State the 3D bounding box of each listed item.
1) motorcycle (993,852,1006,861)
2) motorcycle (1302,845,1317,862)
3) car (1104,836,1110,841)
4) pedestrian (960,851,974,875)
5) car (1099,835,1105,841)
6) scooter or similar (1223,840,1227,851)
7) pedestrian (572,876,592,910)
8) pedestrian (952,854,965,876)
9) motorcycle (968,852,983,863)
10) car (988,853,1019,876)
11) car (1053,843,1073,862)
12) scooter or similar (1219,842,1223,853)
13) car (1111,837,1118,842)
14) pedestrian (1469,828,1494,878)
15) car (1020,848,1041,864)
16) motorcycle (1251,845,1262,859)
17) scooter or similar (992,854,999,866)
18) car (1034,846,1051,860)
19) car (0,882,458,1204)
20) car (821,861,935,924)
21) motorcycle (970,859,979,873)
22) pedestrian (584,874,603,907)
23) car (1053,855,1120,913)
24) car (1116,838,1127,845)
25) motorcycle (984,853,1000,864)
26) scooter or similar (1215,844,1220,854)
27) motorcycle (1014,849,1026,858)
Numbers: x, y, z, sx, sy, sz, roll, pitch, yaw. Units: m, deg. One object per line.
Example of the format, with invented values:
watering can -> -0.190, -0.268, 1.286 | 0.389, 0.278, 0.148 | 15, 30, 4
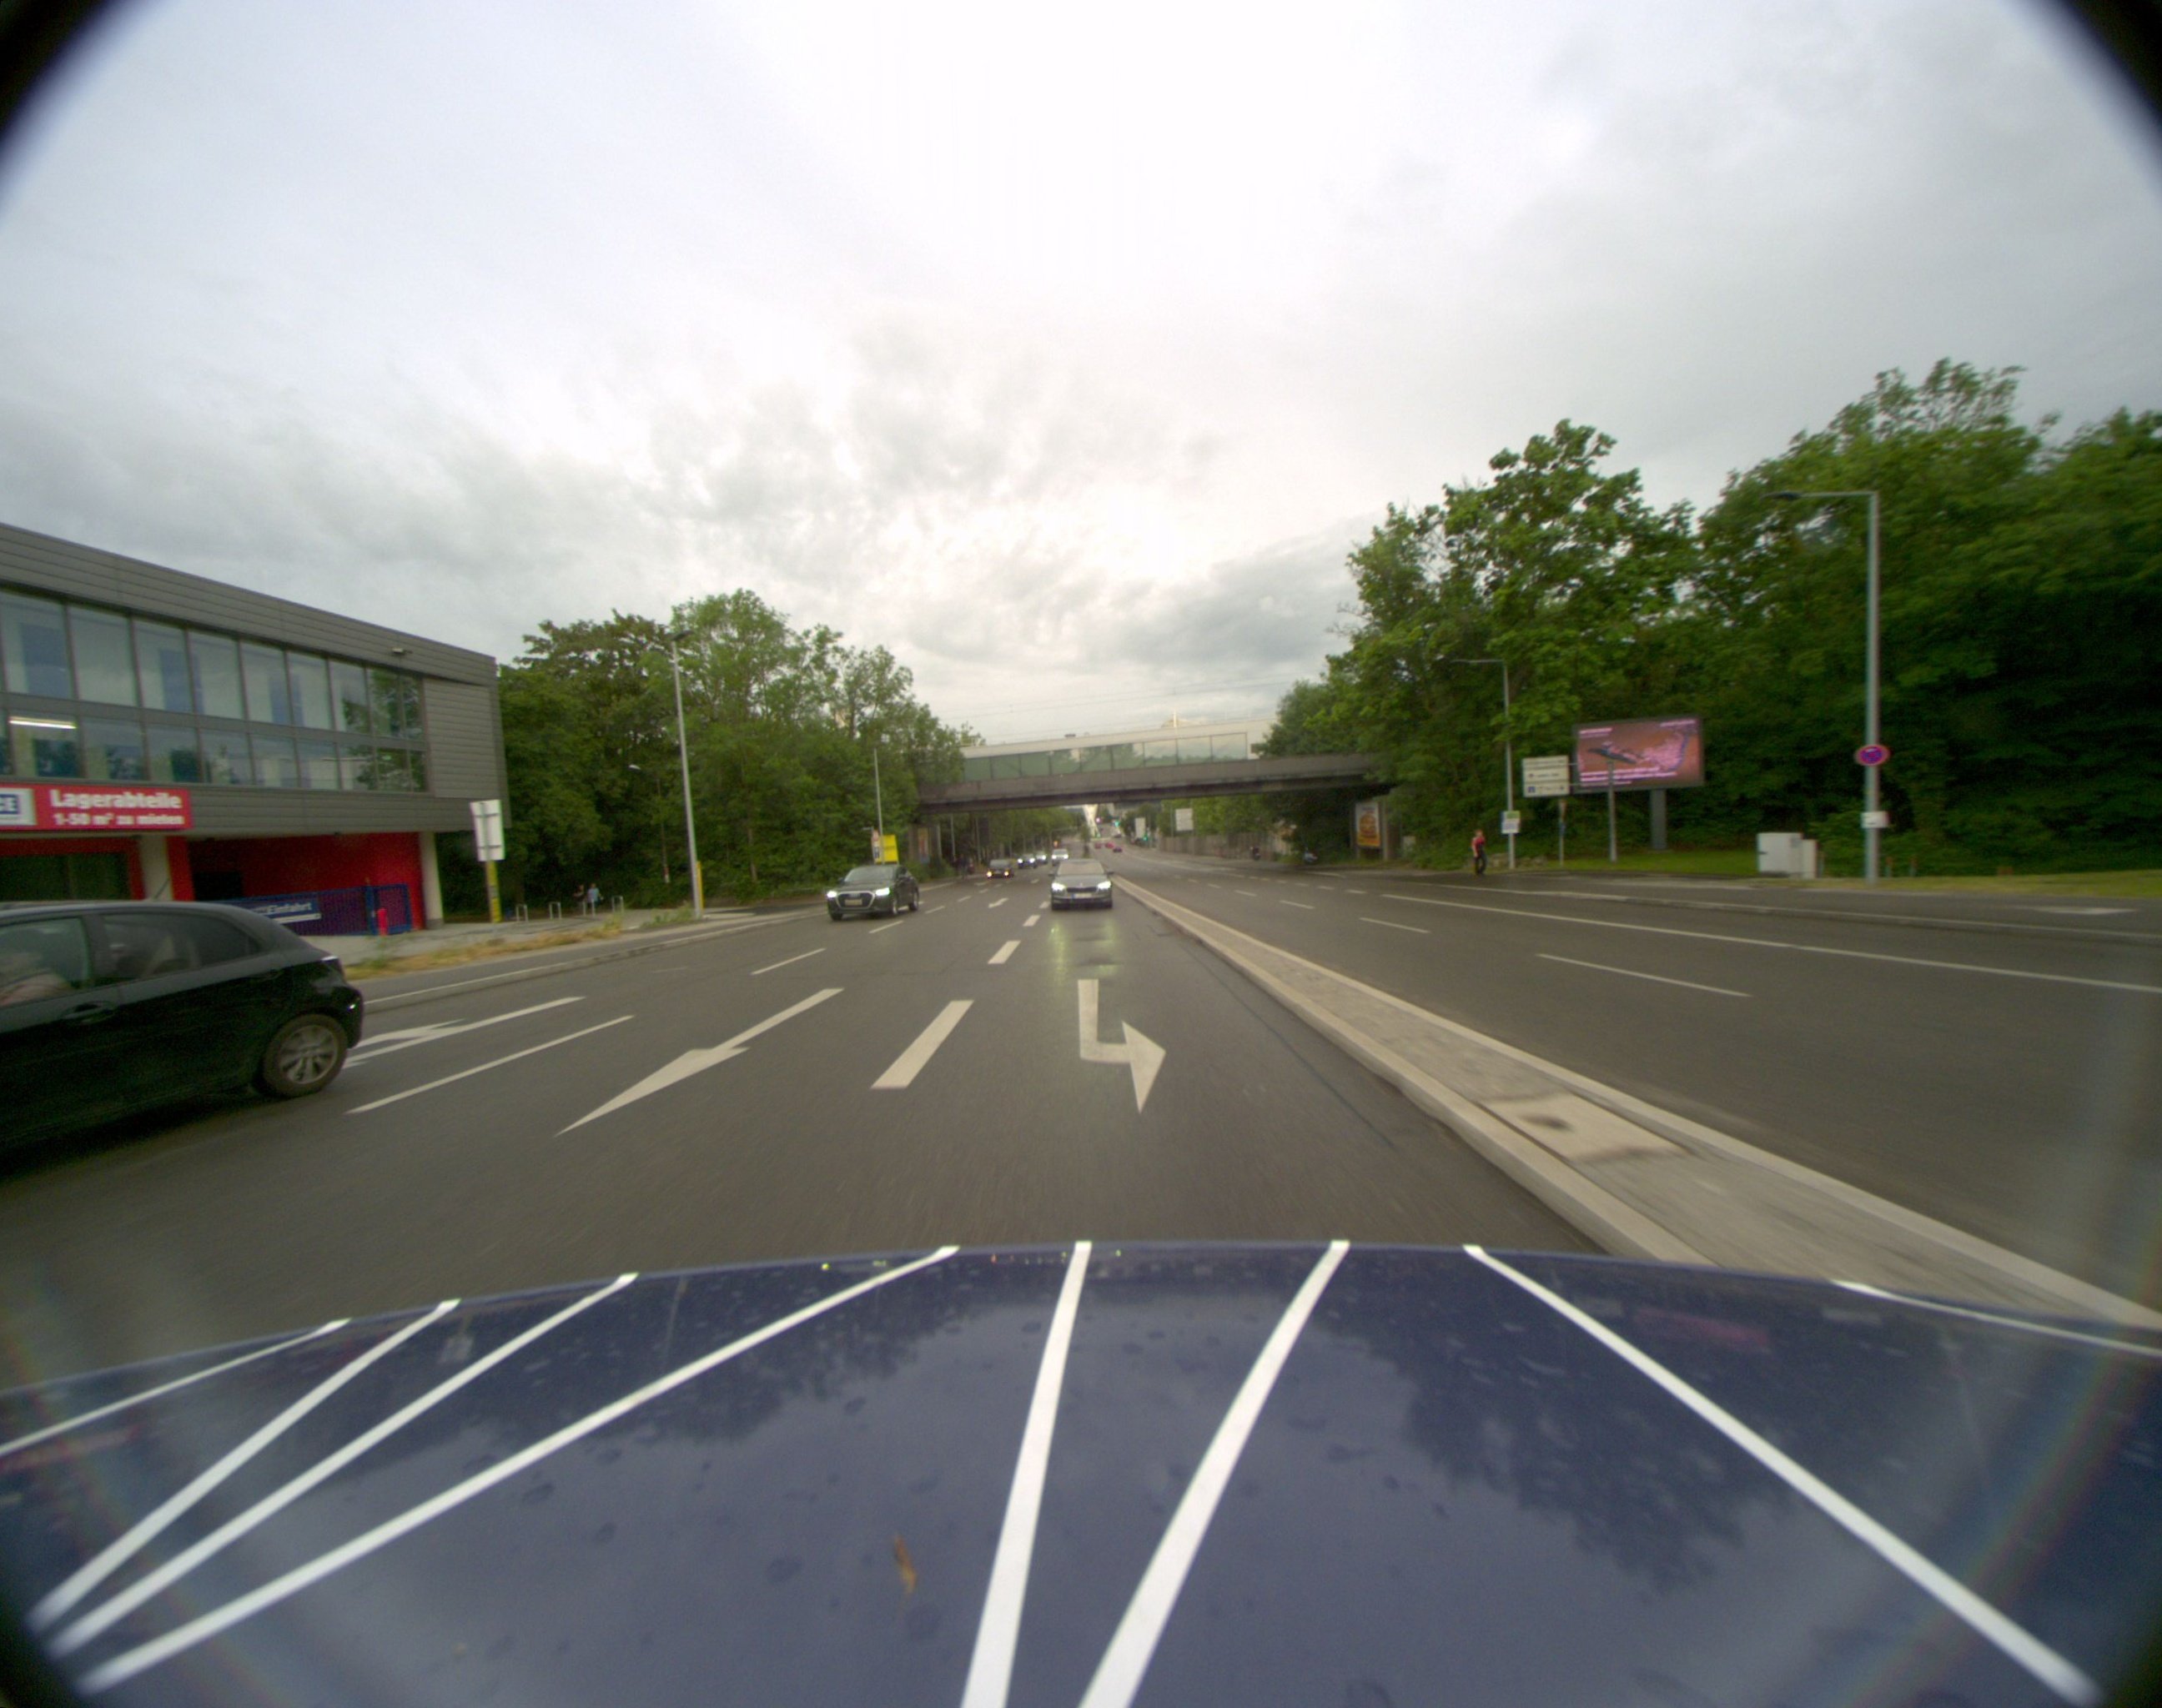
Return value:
motorcycle -> -11.383, 0.304, 106.117 | 1.656, 1.144, 0.493 | -5, 2, 9
motorcycle -> 15.467, -0.051, 51.489 | 0.469, 1.152, 1.932 | -3, 1, 4
car -> 7.942, -4.717, 232.921 | 1.777, 1.396, 4.613 | -2, 2, 1
pedestrian -> -8.302, 0.674, 55.313 | 0.612, 1.711, 0.892 | -2, 2, 11
car -> 6.071, -4.672, 217.247 | 1.589, 1.596, 3.854 | -1, 2, 1
scooter or similar -> 15.936, -0.912, 84.201 | 0.312, 1.211, 1.308 | -2, 1, 6
pedestrian -> -27.704, 2.162, 42.166 | 0.585, 1.805, 0.626 | -3, 1, 29
pedestrian -> -8.967, 0.797, 55.532 | 0.651, 1.587, 0.579 | -2, 2, 12
motorcycle -> -14.814, 0.438, 106.881 | 1.933, 1.357, 0.506 | -5, 2, -4
car -> -5.819, 0.780, 57.775 | 1.749, 1.422, 4.515 | -4, 2, 1
car -> -2.090, -0.182, 89.210 | 2.035, 1.920, 4.331 | -4, 2, 1
scooter or similar -> 15.951, -0.743, 86.631 | 0.312, 1.211, 1.308 | -2, 1, 7
car -> 9.622, -4.137, 217.746 | 1.720, 1.429, 3.770 | -1, 2, 0
pedestrian -> 14.985, -0.048, 28.436 | 0.520, 1.805, 0.800 | -4, 1, 11
car -> -5.500, 0.191, 82.827 | 1.825, 1.581, 4.331 | -4, 2, 1
motorcycle -> 15.758, -0.209, 68.286 | 0.470, 1.198, 1.996 | -3, 1, 0
scooter or similar -> -9.359, 0.659, 83.046 | 0.312, 1.291, 1.308 | -3, 2, 12
car -> -4.991, -0.138, 99.614 | 1.820, 1.571, 4.331 | -4, 2, 1
car -> -6.466, 1.114, 4.388 | 1.749, 1.462, 4.639 | -4, 2, 1
car -> -6.038, 1.073, 23.374 | 1.820, 1.536, 5.608 | -4, 0, 1
motorcycle -> -9.235, 0.994, 66.016 | 0.471, 1.130, 1.818 | -3, 1, 0
pedestrian -> -27.430, 2.072, 42.742 | 0.585, 1.805, 0.602 | -3, 1, 29
car -> 0.185, 0.827, 23.157 | 1.820, 1.536, 4.063 | -2, 0, 1
car -> 8.647, -2.739, 163.571 | 2.069, 1.354, 4.755 | -3, 1, -1
motorcycle -> -11.221, 0.576, 96.132 | 1.855, 1.184, 0.521 | -3, 1, -15
scooter or similar -> 16.036, -0.618, 89.131 | 0.312, 1.211, 1.307 | -3, 1, 1
motorcycle -> -10.082, -0.086, 125.787 | 2.012, 1.266, 0.442 | -2, 2, 13
